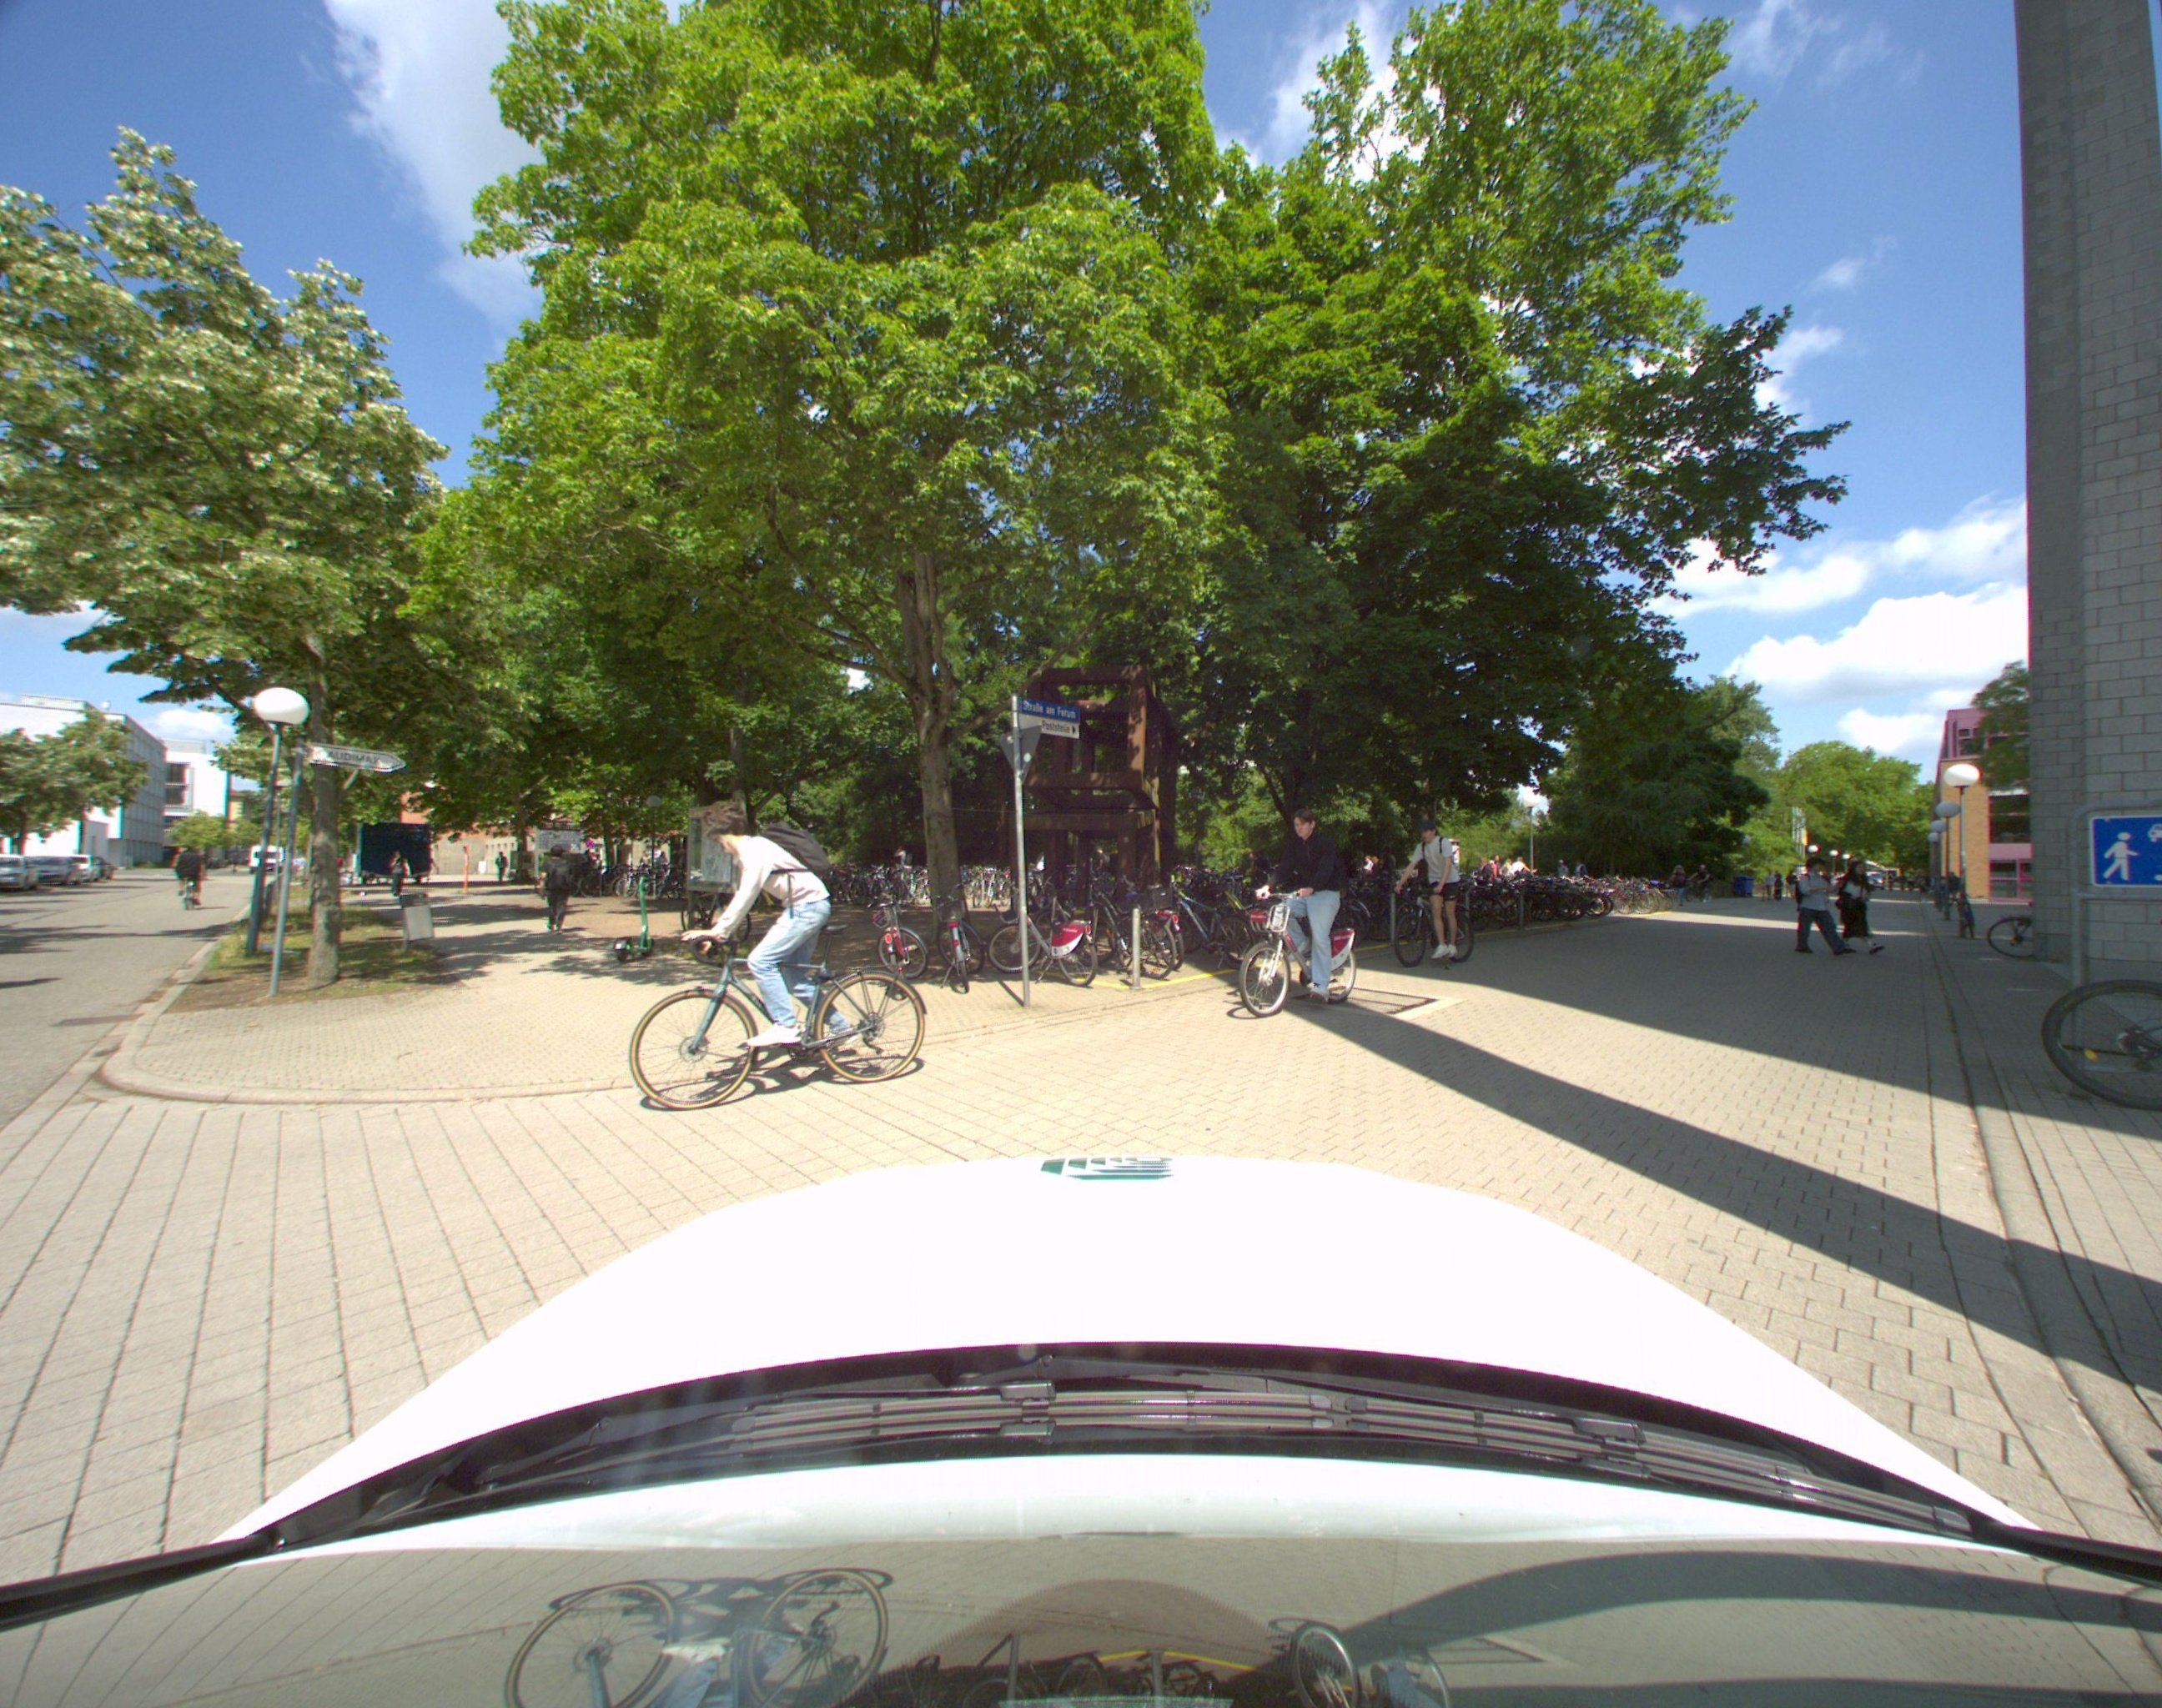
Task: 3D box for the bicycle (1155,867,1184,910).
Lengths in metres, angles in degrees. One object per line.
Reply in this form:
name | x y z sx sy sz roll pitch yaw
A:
bicycle | 2.416 0.924 22.443 0.500 1.108 1.697 2 -1 -3

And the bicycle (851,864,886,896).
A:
bicycle | -7.477 0.908 28.723 0.470 1.083 1.863 2 -1 9

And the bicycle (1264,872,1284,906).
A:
bicycle | 6.397 1.140 27.030 0.470 1.083 1.704 2 -1 9

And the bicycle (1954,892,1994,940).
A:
bicycle | 20.605 1.416 18.805 1.869 1.039 0.532 2 -2 -44

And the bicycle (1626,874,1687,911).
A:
bicycle | 19.608 1.303 27.760 1.678 1.159 0.477 1 -1 38

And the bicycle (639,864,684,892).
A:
bicycle | -17.056 0.954 33.156 0.469 1.083 1.866 2 -1 15

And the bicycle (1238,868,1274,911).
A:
bicycle | 4.804 0.963 22.469 0.500 1.108 1.697 2 -1 -3

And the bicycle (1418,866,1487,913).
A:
bicycle | 10.485 0.983 22.995 1.678 1.220 0.506 1 -1 35

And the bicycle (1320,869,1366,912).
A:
bicycle | 7.146 0.978 22.270 0.501 1.108 1.695 2 -1 -7

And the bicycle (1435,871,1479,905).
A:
bicycle | 12.611 1.130 27.368 0.472 1.083 1.695 2 -1 -8

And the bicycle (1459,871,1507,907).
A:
bicycle | 13.252 1.137 26.887 0.473 1.083 1.692 2 -1 -12

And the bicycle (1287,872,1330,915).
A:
bicycle | 6.198 1.059 22.253 0.501 1.108 1.695 2 -1 -7

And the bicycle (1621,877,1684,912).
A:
bicycle | 19.252 1.348 27.447 1.678 1.091 0.477 1 -1 40

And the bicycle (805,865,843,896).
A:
bicycle | -9.303 0.948 29.530 0.470 1.083 1.863 2 -1 9

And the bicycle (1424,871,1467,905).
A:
bicycle | 12.154 1.113 27.205 0.472 1.083 1.695 2 -1 -8

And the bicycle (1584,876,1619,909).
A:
bicycle | 17.858 1.320 27.926 1.708 1.083 0.502 3 -1 -41

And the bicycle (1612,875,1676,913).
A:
bicycle | 18.640 1.303 26.982 1.678 1.168 0.477 1 -1 40

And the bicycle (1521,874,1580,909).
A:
bicycle | 15.608 1.247 27.102 0.475 1.083 1.683 2 -1 -30

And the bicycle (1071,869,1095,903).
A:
bicycle | 0.085 1.042 27.217 0.470 1.083 1.863 2 -1 9

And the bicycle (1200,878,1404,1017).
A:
bicycle | 2.098 0.836 7.660 1.891 1.140 0.669 2 0 -29

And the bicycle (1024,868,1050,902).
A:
bicycle | -1.468 1.022 27.399 0.470 1.083 1.863 2 -1 9

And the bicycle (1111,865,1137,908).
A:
bicycle | 1.202 0.879 22.607 0.498 1.108 1.784 2 -1 9

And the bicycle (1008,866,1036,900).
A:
bicycle | -1.977 0.961 27.519 0.470 1.083 1.863 2 -1 9

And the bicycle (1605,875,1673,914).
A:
bicycle | 18.041 1.296 26.367 0.475 1.168 1.764 2 -1 -30

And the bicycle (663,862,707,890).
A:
bicycle | -15.911 0.882 32.776 0.469 1.083 1.866 2 -1 15

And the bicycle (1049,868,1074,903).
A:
bicycle | -0.632 1.029 27.191 0.470 1.083 1.863 2 -1 9

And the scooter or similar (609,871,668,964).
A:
scooter or similar | -6.070 0.837 11.212 0.291 1.195 1.182 1 -1 -8

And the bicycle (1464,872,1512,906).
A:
bicycle | 13.658 1.152 27.354 0.473 1.083 1.692 2 -1 -12

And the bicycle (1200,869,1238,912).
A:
bicycle | 3.778 0.976 22.440 0.628 1.108 1.697 2 -1 -3

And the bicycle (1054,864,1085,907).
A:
bicycle | -0.294 0.842 22.522 0.498 1.108 1.911 2 -1 9

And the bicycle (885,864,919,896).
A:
bicycle | -6.228 0.896 28.380 0.470 1.083 1.863 2 -1 9

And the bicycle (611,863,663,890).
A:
bicycle | -18.172 0.930 33.383 0.468 1.083 1.870 1 -1 29

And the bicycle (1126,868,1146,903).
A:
bicycle | 1.834 1.032 27.097 0.470 1.083 1.704 2 -1 9

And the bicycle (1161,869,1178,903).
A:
bicycle | 2.985 1.049 27.380 0.470 1.083 1.704 2 -1 9

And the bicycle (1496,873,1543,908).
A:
bicycle | 14.611 1.207 27.184 0.472 1.083 1.695 2 -1 -8

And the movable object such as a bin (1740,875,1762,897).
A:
movable object such as a bin | 42.633 2.044 51.798 1.244 1.336 0.704 2 1 -34

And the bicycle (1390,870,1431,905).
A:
bicycle | 10.980 1.094 27.201 0.472 1.083 1.695 2 -1 -8

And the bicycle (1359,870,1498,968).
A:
bicycle | 4.668 0.834 10.889 1.894 1.172 0.797 2 0 -35

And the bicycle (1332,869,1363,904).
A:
bicycle | 8.855 1.067 27.074 0.471 1.083 1.700 2 -1 1

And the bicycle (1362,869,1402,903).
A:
bicycle | 9.912 1.039 26.893 0.472 1.083 1.695 2 -1 -8

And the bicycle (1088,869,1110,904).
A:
bicycle | 0.611 1.050 27.003 0.470 1.083 1.863 2 -1 9

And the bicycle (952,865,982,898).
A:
bicycle | -3.930 0.944 28.119 0.470 1.083 1.863 2 -1 9

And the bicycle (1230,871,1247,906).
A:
bicycle | 5.191 1.118 26.887 0.470 1.083 1.704 2 -1 9

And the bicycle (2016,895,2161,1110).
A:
bicycle | 6.541 0.821 4.393 1.862 1.164 0.608 -2 -2 41

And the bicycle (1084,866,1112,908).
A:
bicycle | 0.495 0.897 22.732 0.498 1.108 1.784 2 -1 9

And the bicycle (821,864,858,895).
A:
bicycle | -8.677 0.899 29.332 0.470 1.083 1.863 2 -1 9

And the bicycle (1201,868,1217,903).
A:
bicycle | 4.207 1.015 26.718 0.470 1.083 1.704 2 -1 9

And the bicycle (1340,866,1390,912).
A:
bicycle | 7.763 0.934 22.324 0.573 1.200 1.695 2 -1 -7

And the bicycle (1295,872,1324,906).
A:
bicycle | 7.634 1.155 27.251 0.471 1.083 1.700 2 -1 1

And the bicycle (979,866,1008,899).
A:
bicycle | -2.985 0.950 27.839 0.470 1.083 1.863 2 -1 9

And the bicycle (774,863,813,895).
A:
bicycle | -10.442 0.894 29.670 0.470 1.083 1.863 2 -1 9

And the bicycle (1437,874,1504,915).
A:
bicycle | 11.313 1.169 23.660 1.678 1.108 0.506 1 -1 35

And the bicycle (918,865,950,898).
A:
bicycle | -5.050 0.943 28.147 0.470 1.083 1.863 2 -1 9

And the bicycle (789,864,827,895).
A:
bicycle | -9.864 0.915 29.507 0.470 1.083 1.863 2 -1 9

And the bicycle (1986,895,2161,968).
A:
bicycle | 15.816 1.206 13.039 1.722 1.039 0.452 -1 -1 42

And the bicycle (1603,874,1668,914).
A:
bicycle | 17.569 1.246 25.829 1.678 1.168 0.477 1 -1 34
